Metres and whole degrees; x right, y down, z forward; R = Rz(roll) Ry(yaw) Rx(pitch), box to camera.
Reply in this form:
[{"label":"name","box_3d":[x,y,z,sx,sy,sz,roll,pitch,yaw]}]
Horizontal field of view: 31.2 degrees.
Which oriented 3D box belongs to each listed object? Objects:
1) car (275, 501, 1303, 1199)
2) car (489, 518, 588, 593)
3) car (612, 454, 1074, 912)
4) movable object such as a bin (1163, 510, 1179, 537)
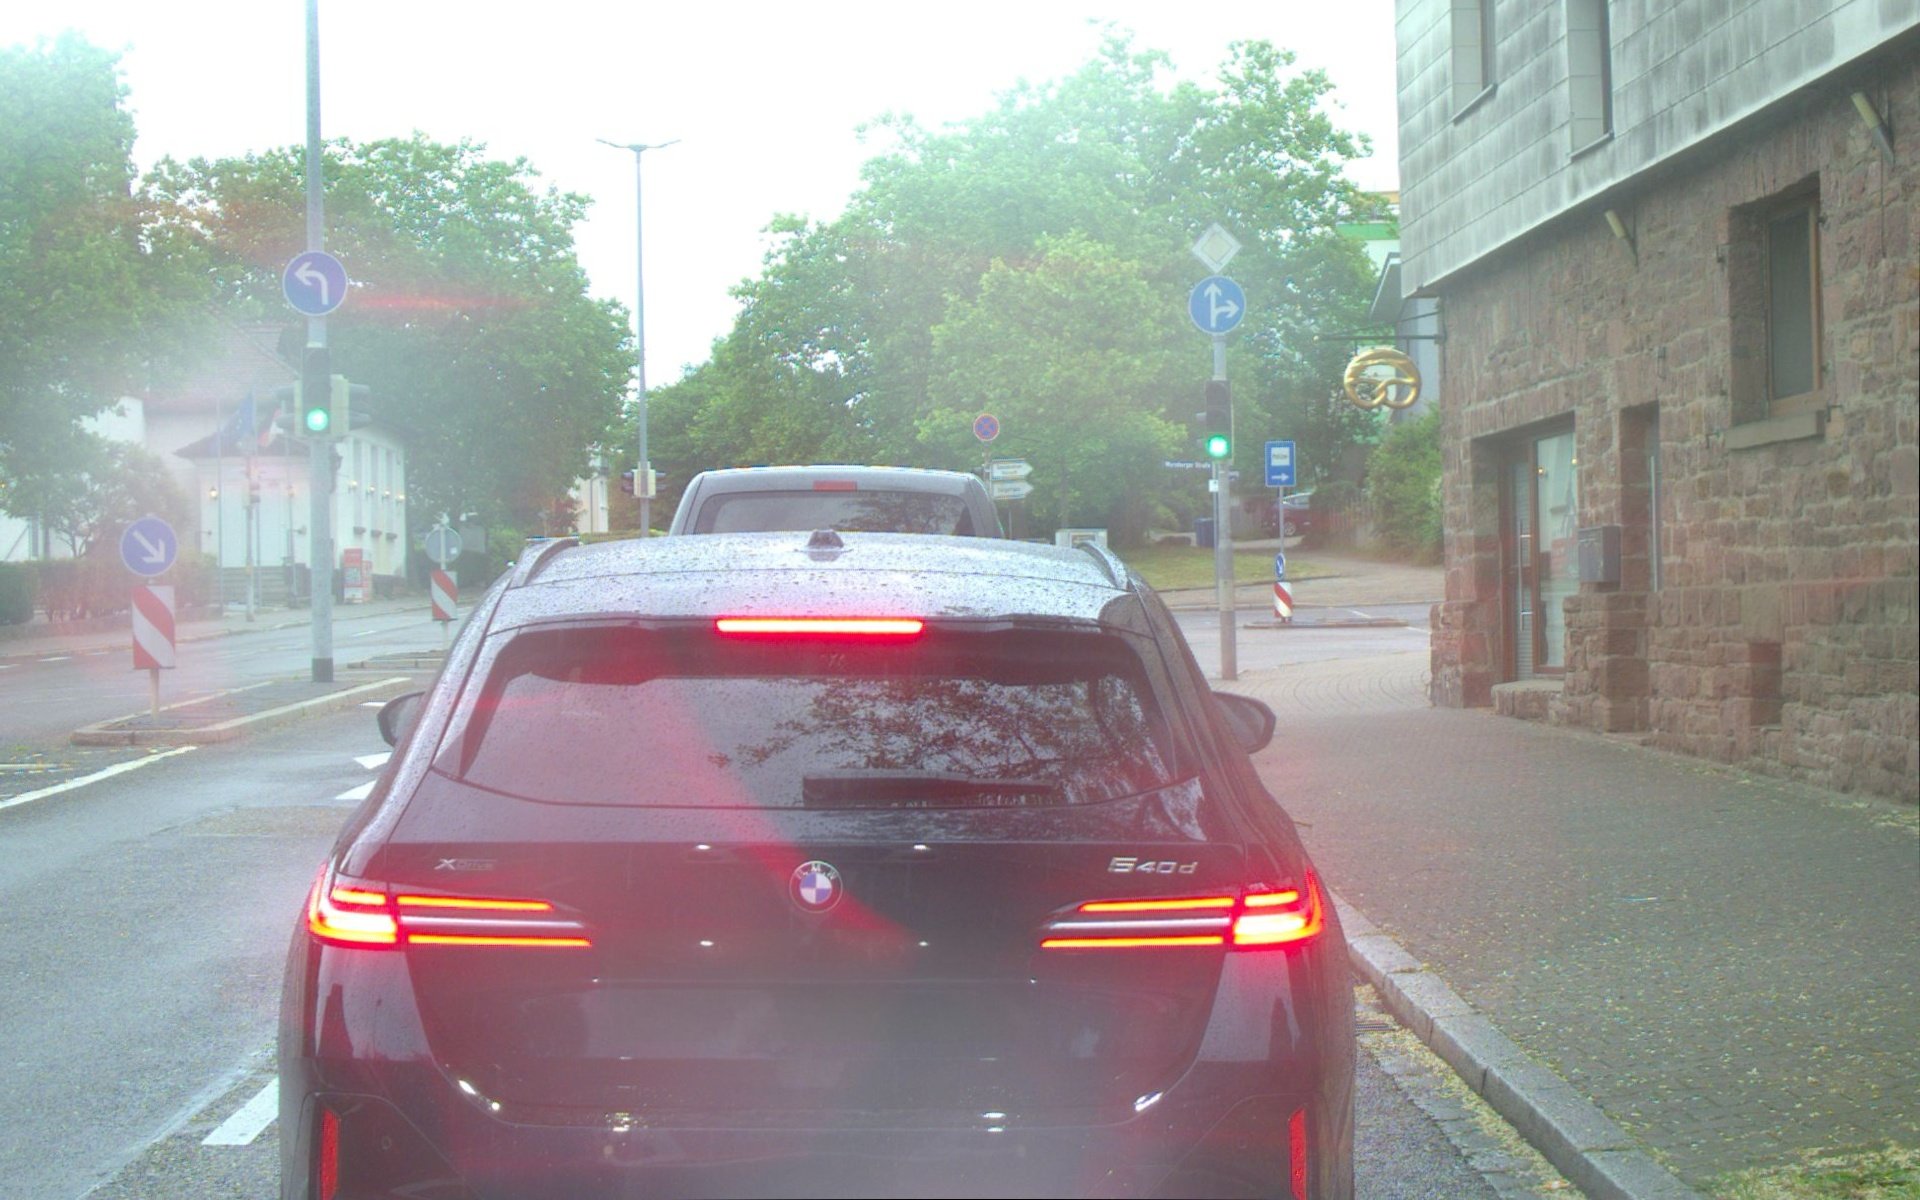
[{"label":"car","box_3d":[-0.362,0.609,6.914,1.523,1.529,3.532,1,0,-4]},{"label":"car","box_3d":[-9.472,-1.020,77.526,1.898,1.572,4.503,-1,2,-4]},{"label":"car","box_3d":[-0.579,0.315,15.545,1.812,1.802,3.757,1,0,-4]},{"label":"movable object such as a bin","box_3d":[7.071,-2.558,115.286,0.450,0.902,0.462,1,0,15]}]
